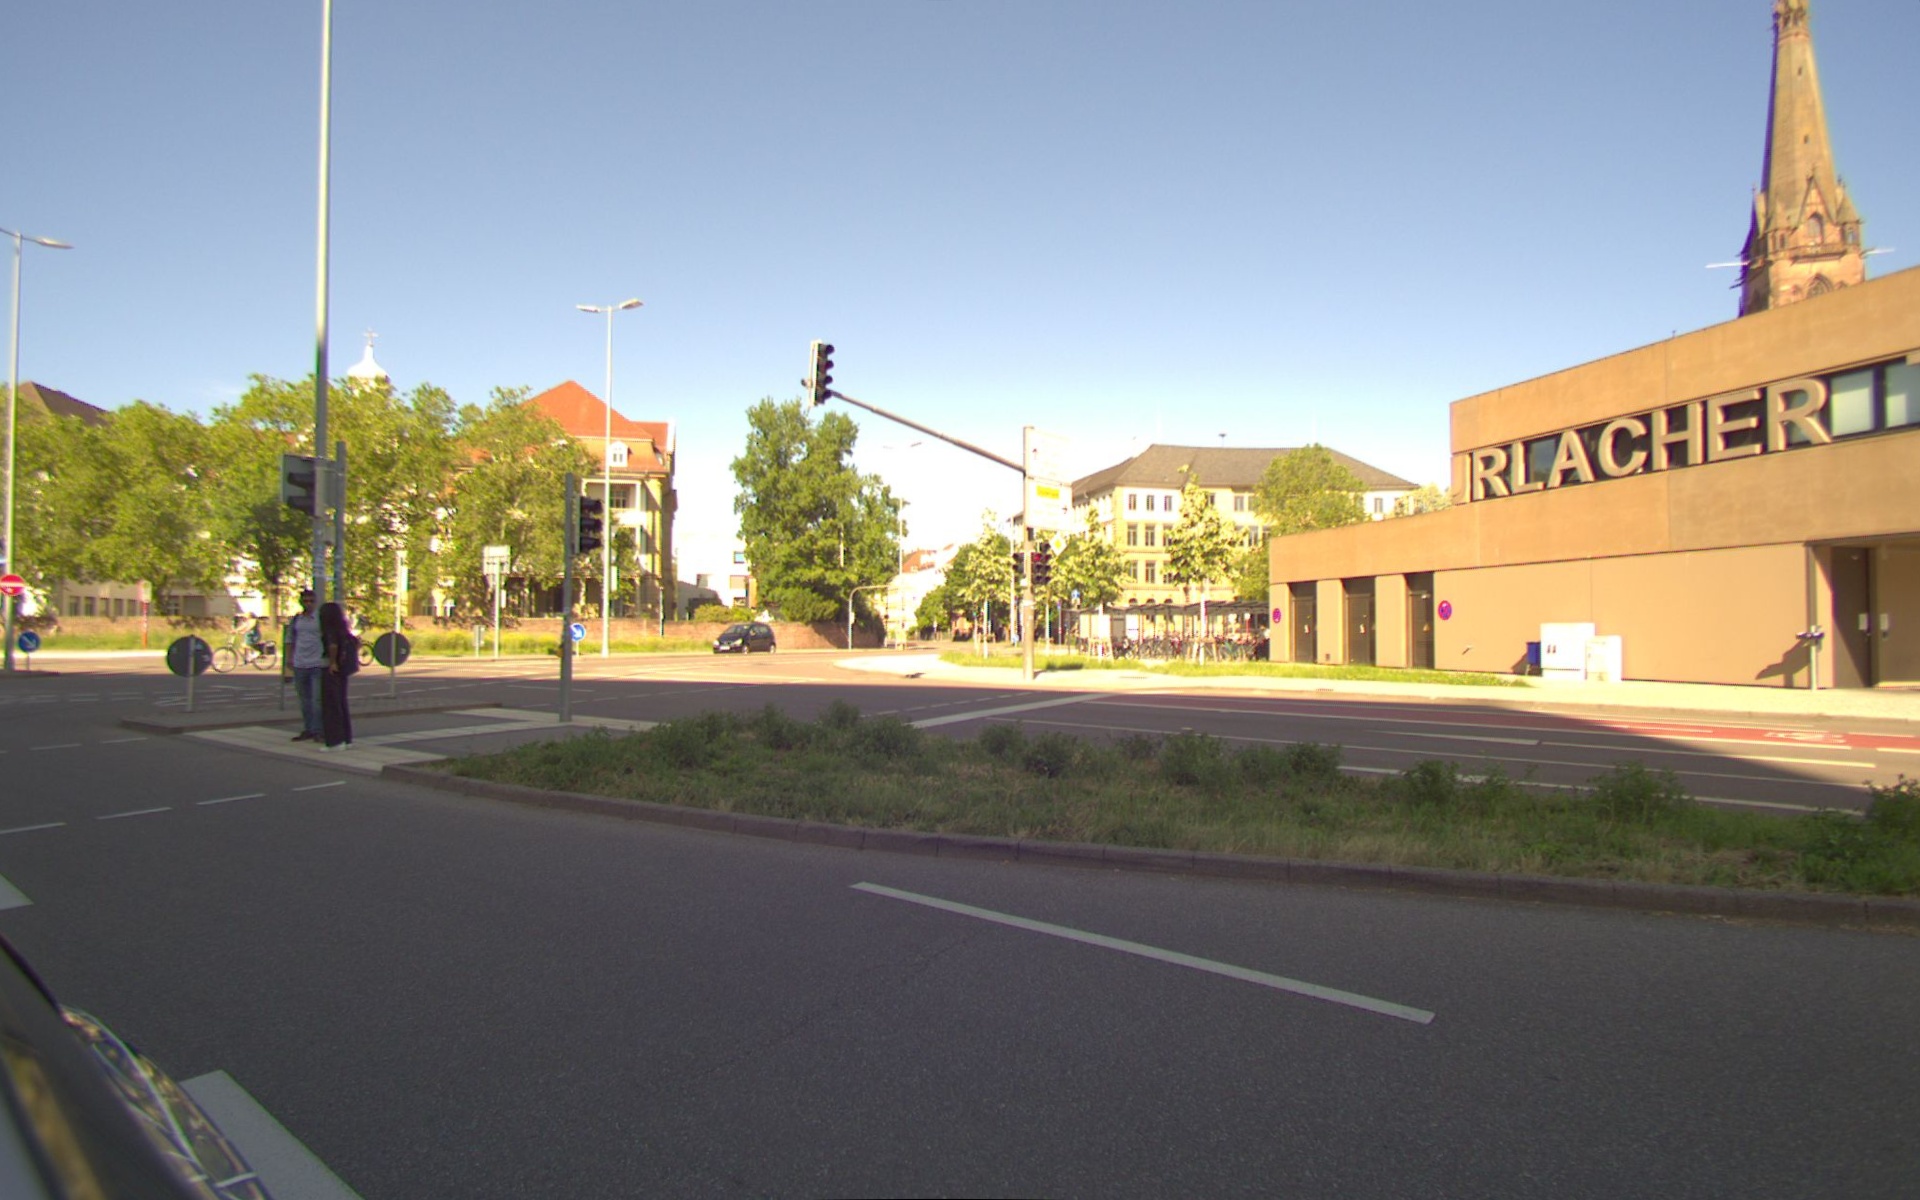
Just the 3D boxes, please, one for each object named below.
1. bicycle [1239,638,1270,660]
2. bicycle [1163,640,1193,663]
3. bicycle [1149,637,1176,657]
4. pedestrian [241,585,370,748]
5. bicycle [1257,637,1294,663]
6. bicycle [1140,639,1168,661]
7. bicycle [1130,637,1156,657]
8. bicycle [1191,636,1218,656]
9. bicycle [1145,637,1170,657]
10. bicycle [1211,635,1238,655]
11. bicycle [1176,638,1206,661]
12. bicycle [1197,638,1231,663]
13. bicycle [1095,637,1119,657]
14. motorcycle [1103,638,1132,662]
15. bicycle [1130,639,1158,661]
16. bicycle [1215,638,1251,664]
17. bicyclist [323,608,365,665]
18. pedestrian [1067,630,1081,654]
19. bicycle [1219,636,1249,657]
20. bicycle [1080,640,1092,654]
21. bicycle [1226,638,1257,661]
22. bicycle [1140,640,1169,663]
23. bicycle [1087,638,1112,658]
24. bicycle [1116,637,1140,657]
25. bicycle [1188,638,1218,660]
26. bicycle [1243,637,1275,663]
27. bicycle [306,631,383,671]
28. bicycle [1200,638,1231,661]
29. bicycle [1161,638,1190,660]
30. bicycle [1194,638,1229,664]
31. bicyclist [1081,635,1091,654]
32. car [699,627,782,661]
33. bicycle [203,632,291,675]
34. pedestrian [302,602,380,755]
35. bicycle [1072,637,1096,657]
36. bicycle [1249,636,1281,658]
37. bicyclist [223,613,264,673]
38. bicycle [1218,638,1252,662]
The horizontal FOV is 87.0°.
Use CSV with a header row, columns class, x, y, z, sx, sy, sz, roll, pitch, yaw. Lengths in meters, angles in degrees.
class,x,y,z,sx,sy,sz,roll,pitch,yaw
bicycle,14.320,2.364,49.227,0.558,1.046,1.793,2,-2,-18
bicycle,10.318,2.415,47.958,0.558,1.046,1.793,2,-2,-18
bicycle,10.853,2.513,54.272,0.558,1.046,1.793,2,-2,-18
pedestrian,-7.774,0.768,12.074,0.748,1.846,1.091,-1,-1,11
bicycle,13.320,2.105,42.820,0.558,1.046,1.793,2,-2,-18
bicycle,9.560,2.467,49.933,0.558,1.046,1.793,2,-2,-18
bicycle,9.717,2.509,53.896,0.558,1.046,1.793,2,-2,-18
bicycle,13.289,2.497,54.968,0.558,1.046,1.793,2,-2,-18
bicycle,11.057,2.616,56.595,0.558,1.046,1.793,2,-2,-18
bicycle,14.452,2.478,55.392,0.558,1.046,1.793,2,-2,-18
bicycle,11.007,2.372,48.209,0.558,1.046,1.793,2,-2,-18
bicycle,11.132,2.226,44.424,0.558,1.046,1.793,2,-2,-18
bicycle,8.058,2.585,55.580,0.558,1.046,1.793,2,-2,-18
motorcycle,7.403,2.356,47.669,0.585,1.128,1.990,0,-2,-14
bicycle,9.023,2.445,49.729,0.558,1.046,1.793,2,-2,-18
bicycle,11.445,2.111,42.442,0.558,1.046,1.793,2,-2,-18
bicyclist,-18.636,1.107,30.606,0.779,1.675,0.771,-2,-2,20
pedestrian,8.452,3.107,74.933,0.785,1.694,0.643,-3,-3,21
bicycle,13.894,2.356,51.384,0.558,1.046,1.793,2,-2,-18
bicycle,11.187,4.169,89.777,0.742,1.174,1.858,0,-2,19
bicycle,13.605,2.379,48.994,0.558,1.046,1.793,2,-2,-18
bicycle,9.129,2.399,47.581,0.558,1.046,1.793,2,-2,-18
bicycle,7.341,2.511,53.223,0.558,1.046,1.793,2,-2,-18
bicycle,9.291,2.610,55.986,0.558,1.046,1.793,2,-2,-18
bicycle,11.604,2.334,48.402,0.558,1.046,1.793,2,-2,-18
bicycle,12.594,2.105,42.653,0.559,1.046,1.792,1,-2,-10
bicycle,-18.603,1.538,30.650,0.773,1.174,1.955,-2,-3,19
bicycle,12.257,2.378,48.584,0.558,1.046,1.793,2,-2,-18
bicycle,10.733,2.443,50.413,0.558,1.046,1.793,2,-2,-18
bicycle,10.501,2.136,42.330,0.558,1.046,1.793,2,-2,-18
bicyclist,11.195,3.948,89.798,0.716,1.633,0.971,0,-2,19
car,-10.567,2.119,49.041,1.984,1.484,4.270,-3,-3,19
bicycle,-20.203,1.495,28.726,0.641,1.174,1.945,-3,-3,34
pedestrian,-6.847,0.840,11.194,0.670,1.624,0.721,1,-2,-36
bicycle,6.737,2.557,55.158,0.558,1.046,1.793,2,-2,-18
bicycle,14.892,2.298,49.392,0.558,1.046,1.793,2,-2,-18
bicyclist,-20.279,1.215,28.647,0.642,1.675,0.767,-3,-3,35
bicycle,12.228,2.224,45.102,0.558,1.046,1.793,2,-2,-18
